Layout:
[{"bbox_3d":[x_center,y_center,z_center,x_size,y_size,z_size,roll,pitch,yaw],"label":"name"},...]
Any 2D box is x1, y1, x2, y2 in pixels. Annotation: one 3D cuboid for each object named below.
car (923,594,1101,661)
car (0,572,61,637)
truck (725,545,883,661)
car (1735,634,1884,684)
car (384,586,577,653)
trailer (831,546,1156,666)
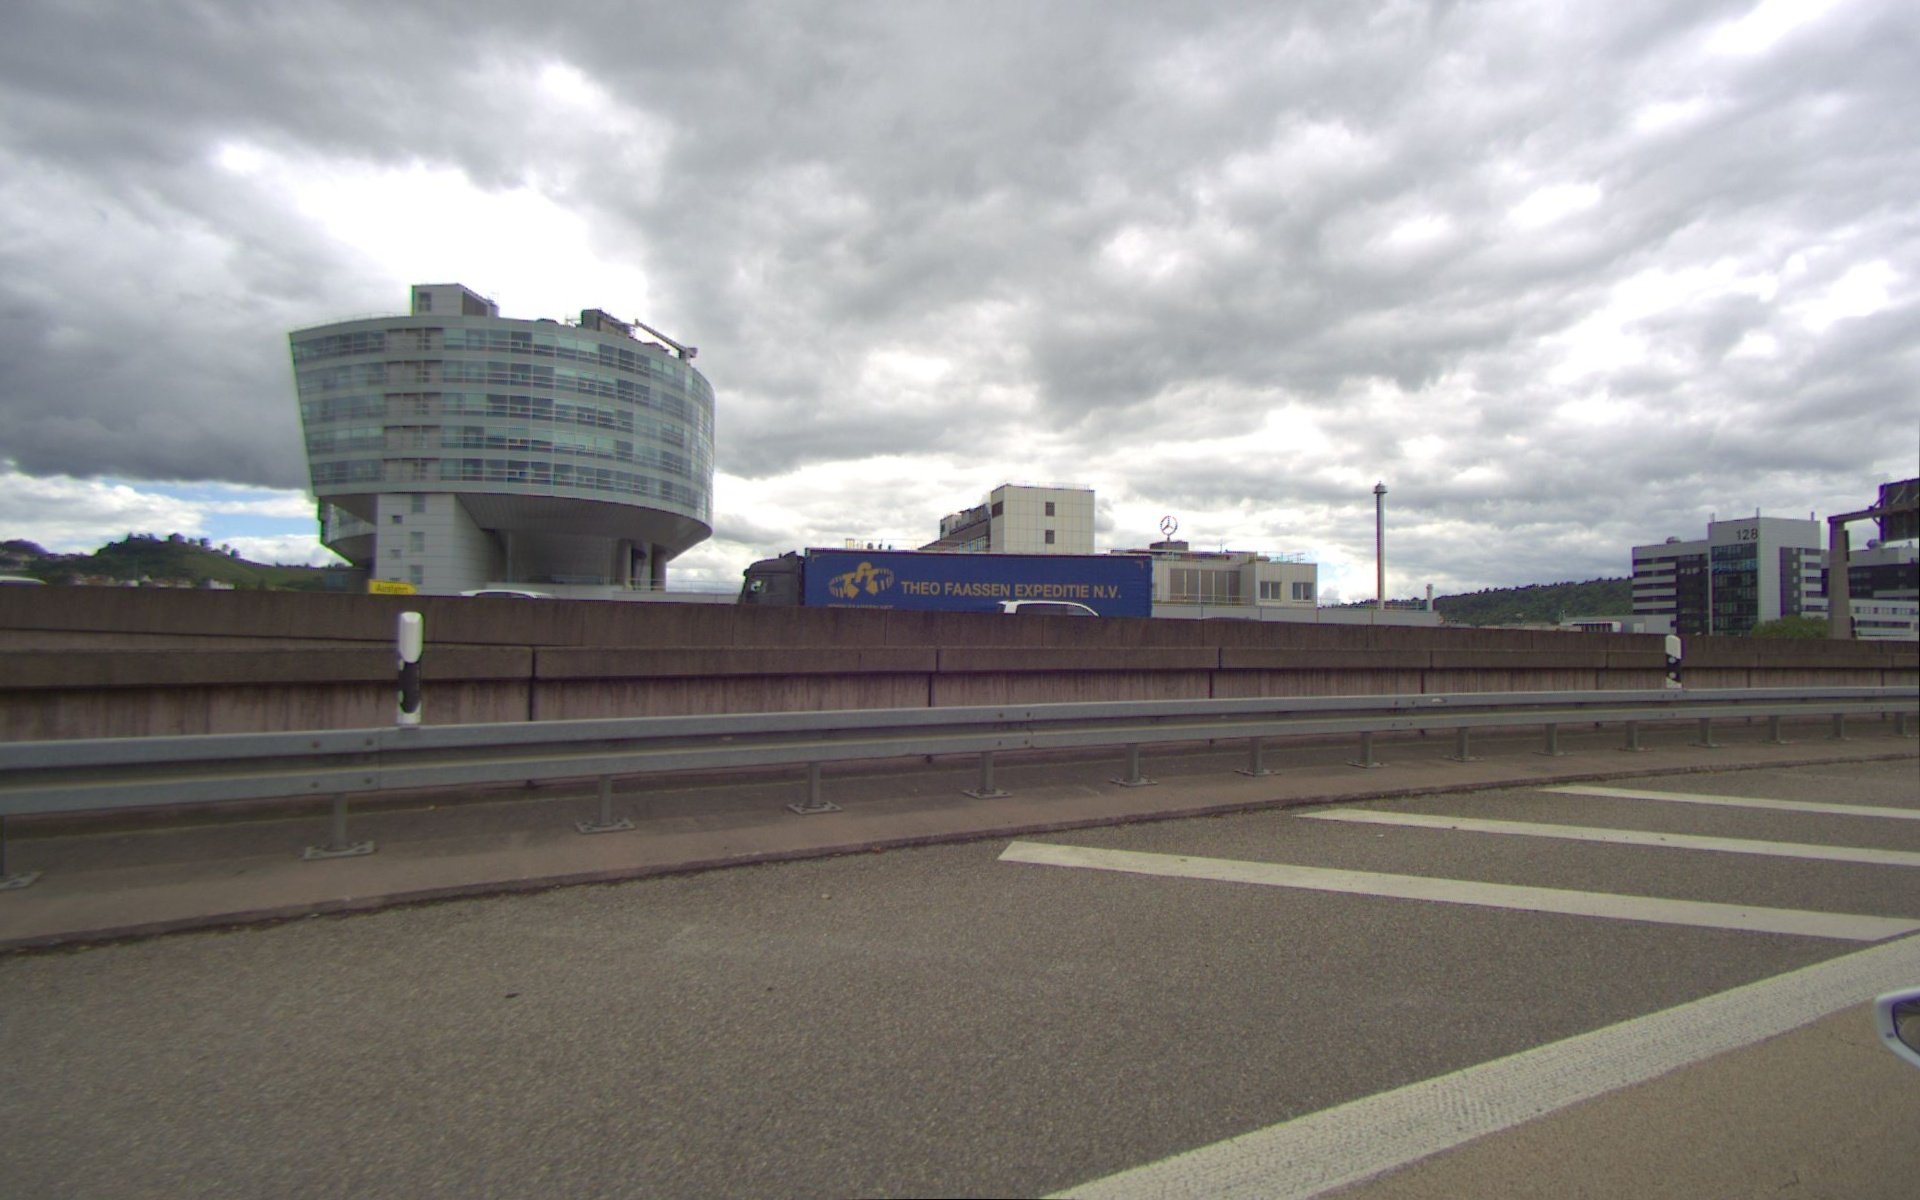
[{"bbox_3d":[1.506,0.730,28.253,4.793,1.691,2.001,1,0,6],"label":"car"},{"bbox_3d":[-24.951,0.076,24.886,3.919,1.539,1.789,1,1,5],"label":"car"},{"bbox_3d":[-6.139,0.178,40.233,5.579,4.404,3.174,1,-2,5],"label":"truck"},{"bbox_3d":[29.098,2.006,34.494,3.612,1.612,1.651,1,-2,4],"label":"car"},{"bbox_3d":[-11.657,0.454,24.561,3.919,1.517,1.715,1,1,4],"label":"car"},{"bbox_3d":[1.328,0.264,39.715,12.265,4.404,3.174,1,-2,4],"label":"trailer"}]
